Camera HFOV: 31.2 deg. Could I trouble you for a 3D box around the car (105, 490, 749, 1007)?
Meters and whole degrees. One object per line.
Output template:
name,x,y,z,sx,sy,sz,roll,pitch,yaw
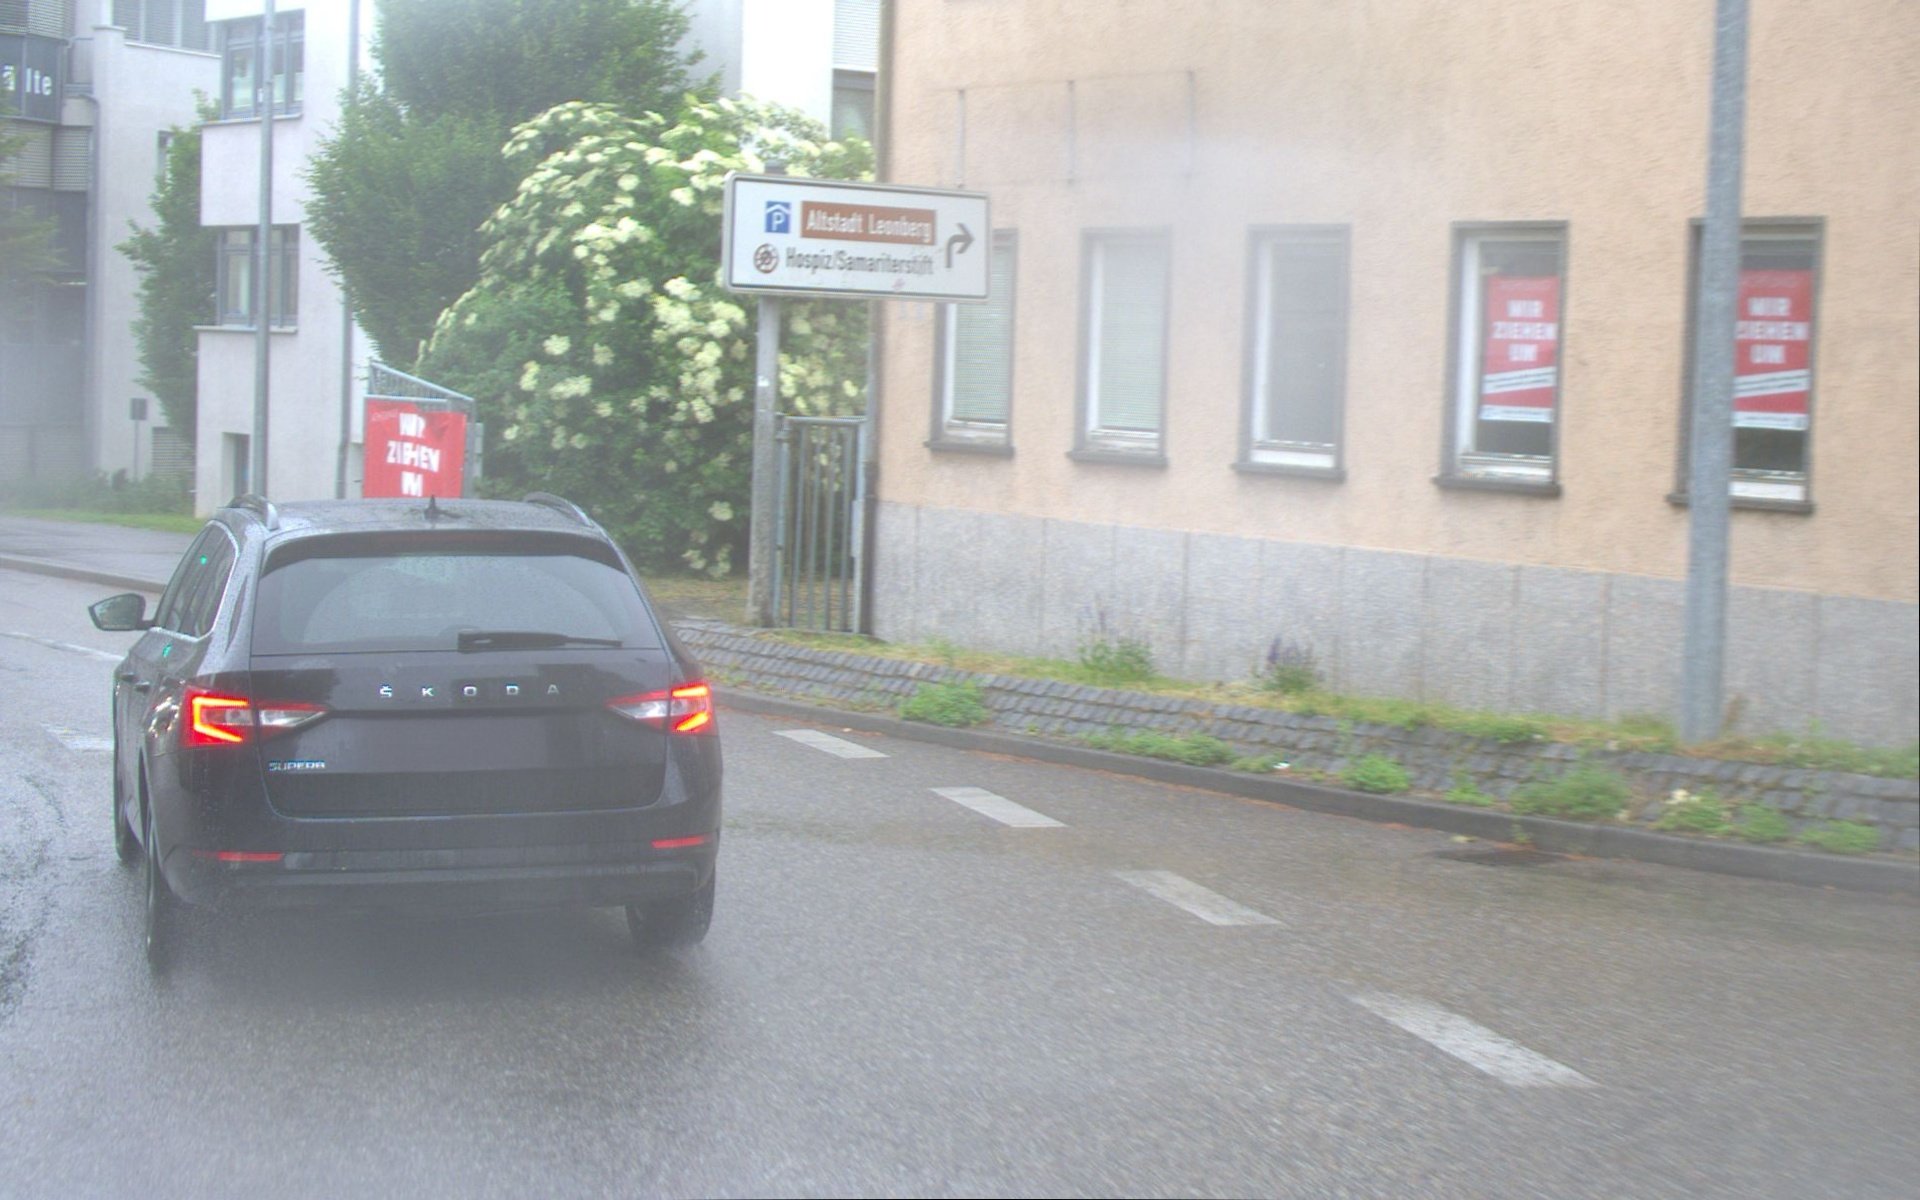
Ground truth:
car,-2.061,0.358,12.208,1.781,1.478,4.247,-1,2,-15
